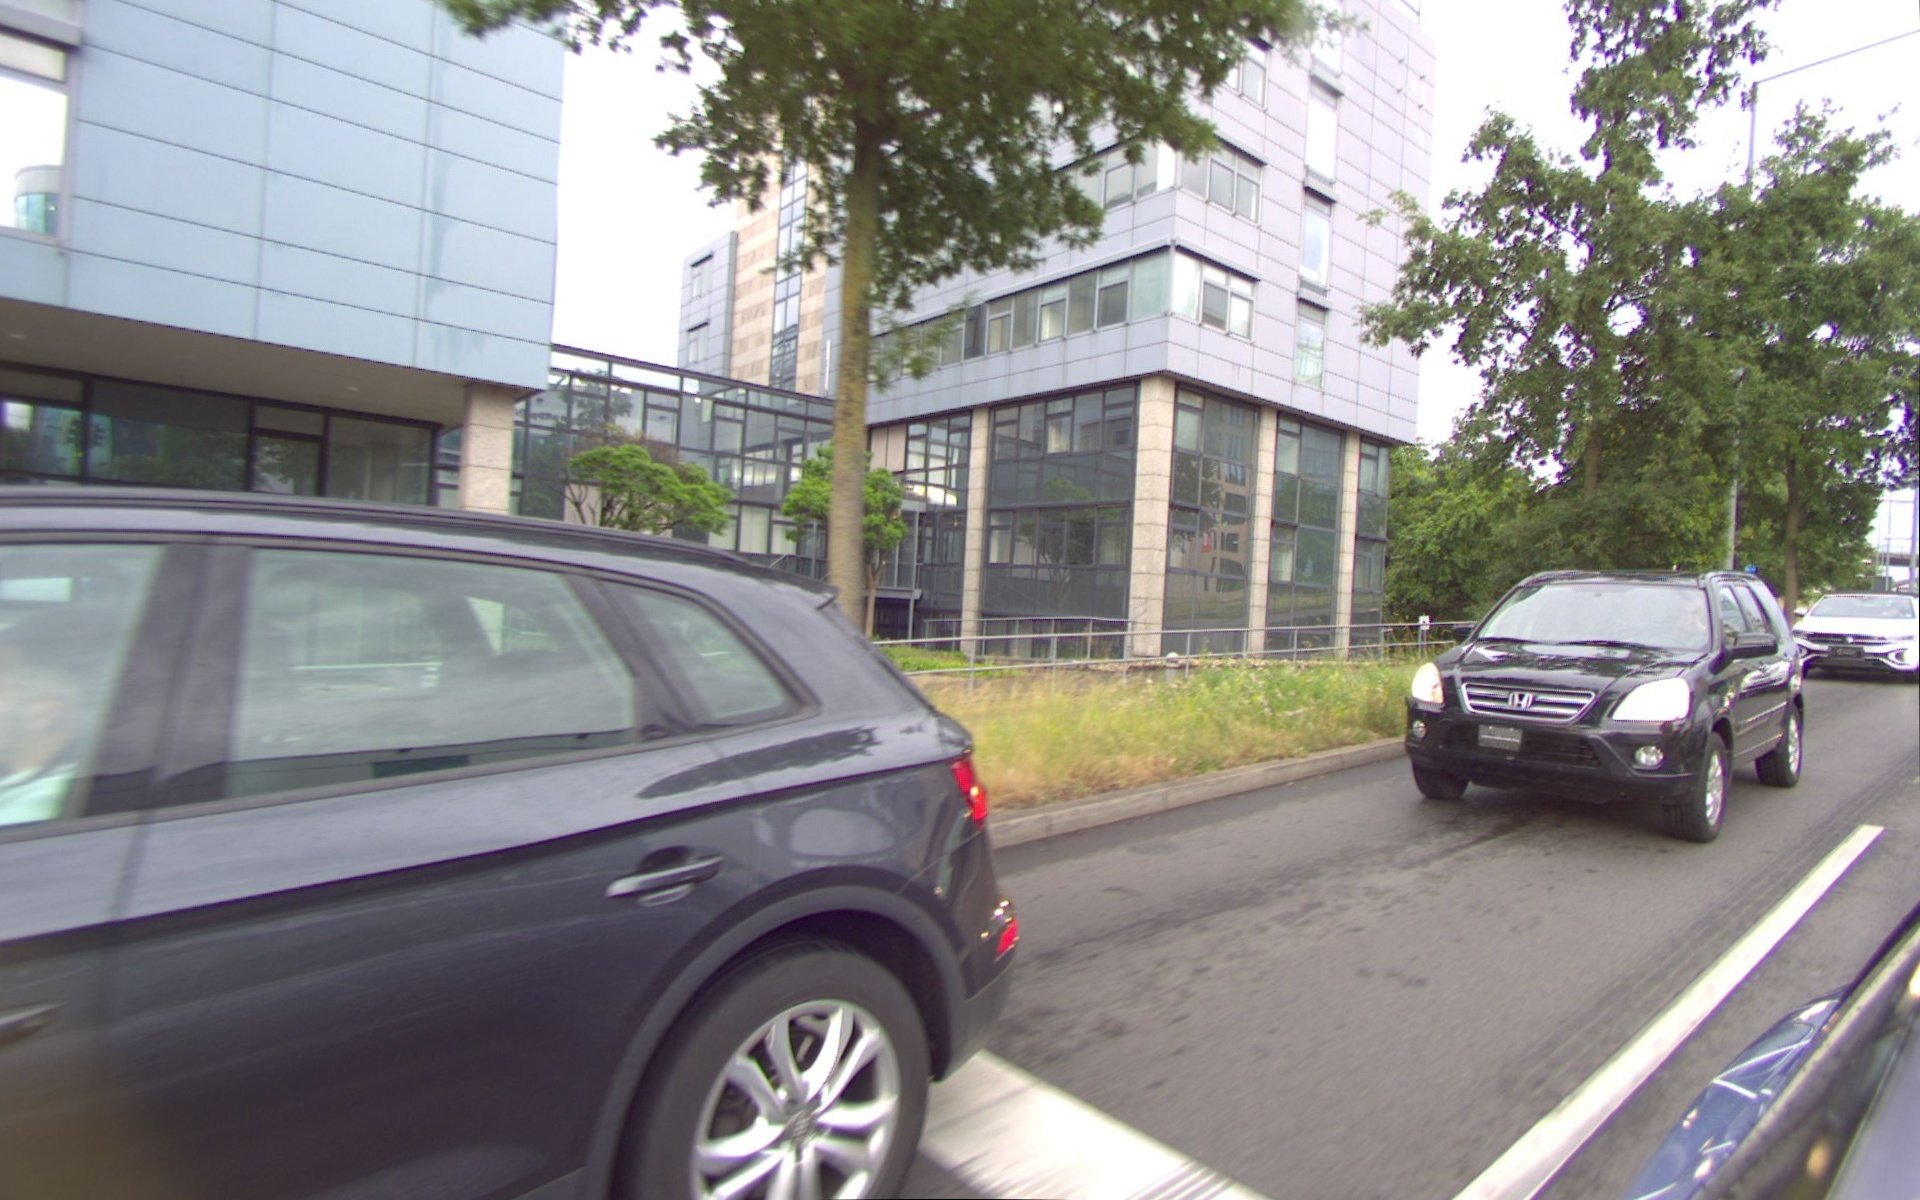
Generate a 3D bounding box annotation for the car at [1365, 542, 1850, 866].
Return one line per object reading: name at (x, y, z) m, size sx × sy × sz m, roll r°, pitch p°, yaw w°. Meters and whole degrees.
car at (4.952, 0.531, 7.451) m, size 4.469 × 1.691 × 1.815 m, roll 0°, pitch 1°, yaw -41°

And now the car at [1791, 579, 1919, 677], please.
car at (16.355, 0.437, 17.933) m, size 4.034 × 1.562 × 1.871 m, roll 0°, pitch 1°, yaw -41°

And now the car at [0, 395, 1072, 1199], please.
car at (-1.937, 0.577, 1.791) m, size 4.294 × 1.691 × 1.815 m, roll 0°, pitch 1°, yaw -41°
